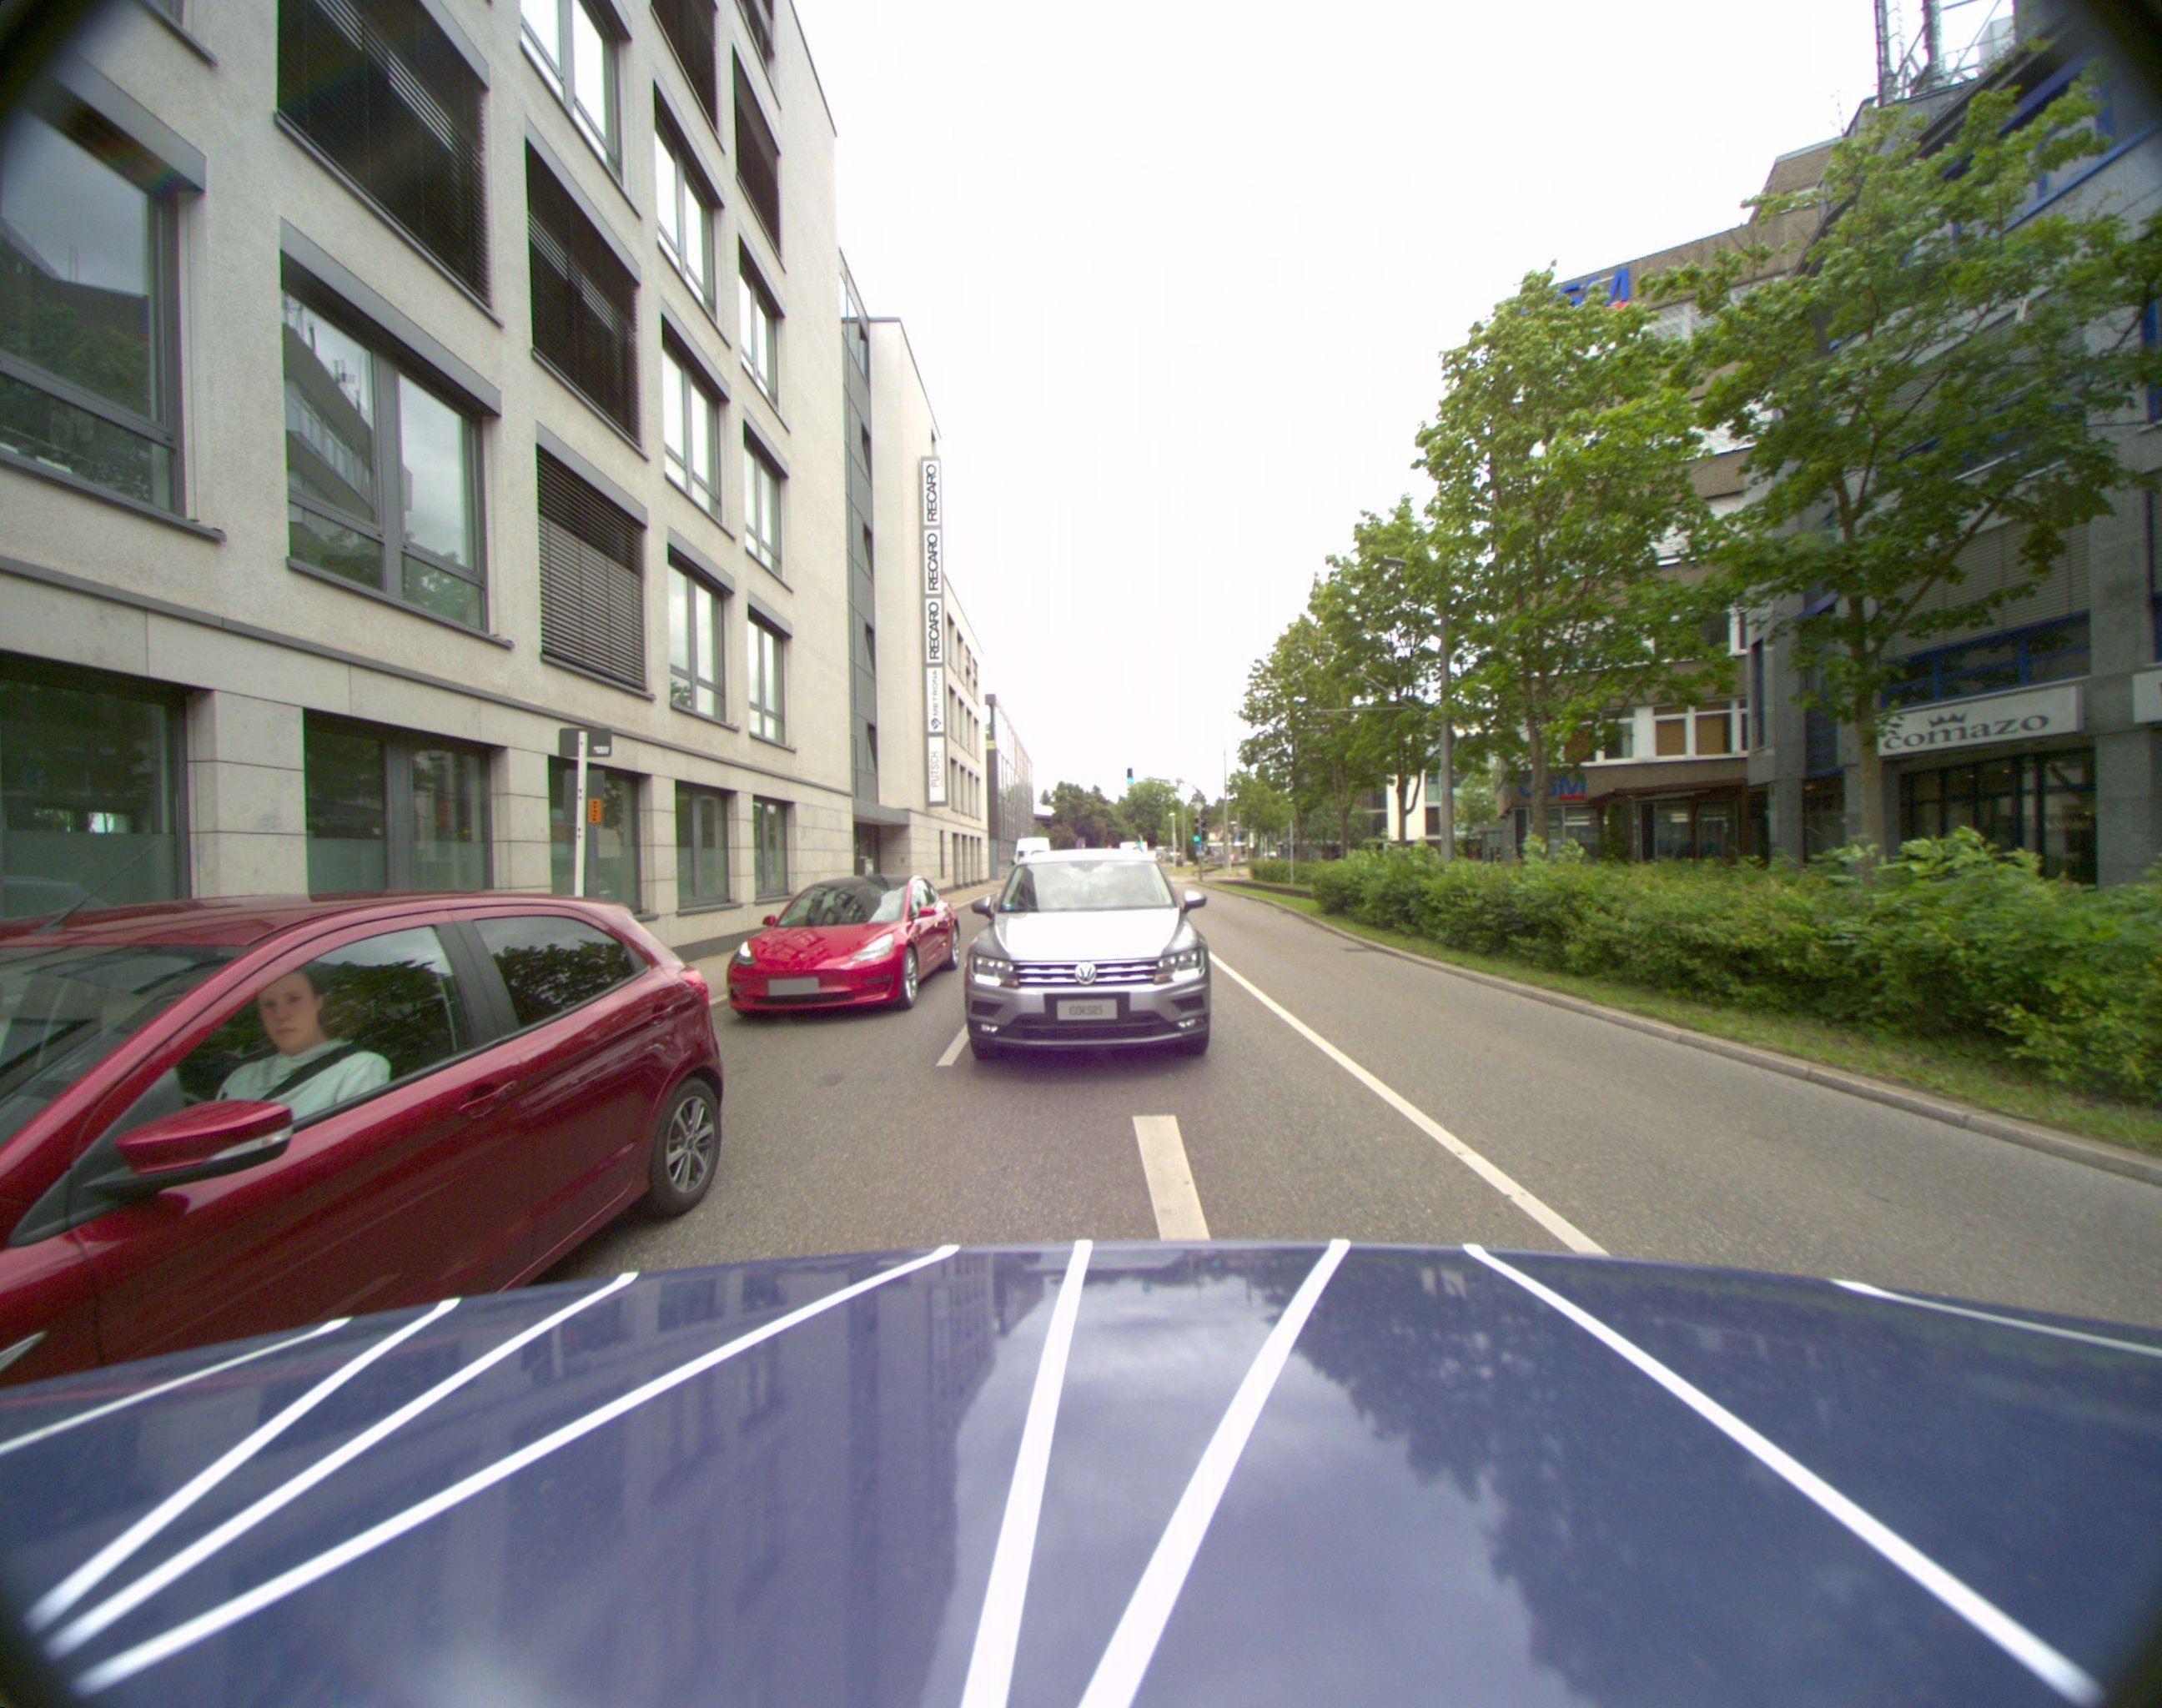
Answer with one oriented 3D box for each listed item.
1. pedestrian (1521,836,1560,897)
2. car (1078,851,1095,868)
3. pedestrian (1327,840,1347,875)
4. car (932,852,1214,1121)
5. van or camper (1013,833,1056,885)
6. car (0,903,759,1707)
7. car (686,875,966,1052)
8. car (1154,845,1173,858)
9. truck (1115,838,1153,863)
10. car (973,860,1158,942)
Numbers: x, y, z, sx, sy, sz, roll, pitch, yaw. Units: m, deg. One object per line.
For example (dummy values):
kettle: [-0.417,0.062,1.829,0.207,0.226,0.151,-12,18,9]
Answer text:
pedestrian: [13.776,0.370,22.806,0.680,1.795,0.731,-2,1,-4]
car: [0.716,0.658,96.167,1.998,2.002,4.000,-2,1,1]
pedestrian: [14.336,0.178,42.599,0.816,1.912,0.731,-2,1,0]
car: [-0.018,0.859,7.171,1.798,1.716,4.458,-1,0,1]
van or camper: [-2.575,0.243,43.709,2.113,2.718,6.150,-2,1,-1]
car: [-2.703,1.048,1.991,1.890,1.483,4.000,-4,0,1]
car: [-2.711,1.082,9.292,1.825,1.449,4.408,-3,0,1]
car: [13.926,-0.385,127.976,1.995,2.002,4.006,-1,1,24]
truck: [8.167,-0.635,116.864,2.317,3.626,8.024,-1,1,31]
car: [-0.274,0.959,16.788,3.740,1.449,1.742,-3,0,-40]
